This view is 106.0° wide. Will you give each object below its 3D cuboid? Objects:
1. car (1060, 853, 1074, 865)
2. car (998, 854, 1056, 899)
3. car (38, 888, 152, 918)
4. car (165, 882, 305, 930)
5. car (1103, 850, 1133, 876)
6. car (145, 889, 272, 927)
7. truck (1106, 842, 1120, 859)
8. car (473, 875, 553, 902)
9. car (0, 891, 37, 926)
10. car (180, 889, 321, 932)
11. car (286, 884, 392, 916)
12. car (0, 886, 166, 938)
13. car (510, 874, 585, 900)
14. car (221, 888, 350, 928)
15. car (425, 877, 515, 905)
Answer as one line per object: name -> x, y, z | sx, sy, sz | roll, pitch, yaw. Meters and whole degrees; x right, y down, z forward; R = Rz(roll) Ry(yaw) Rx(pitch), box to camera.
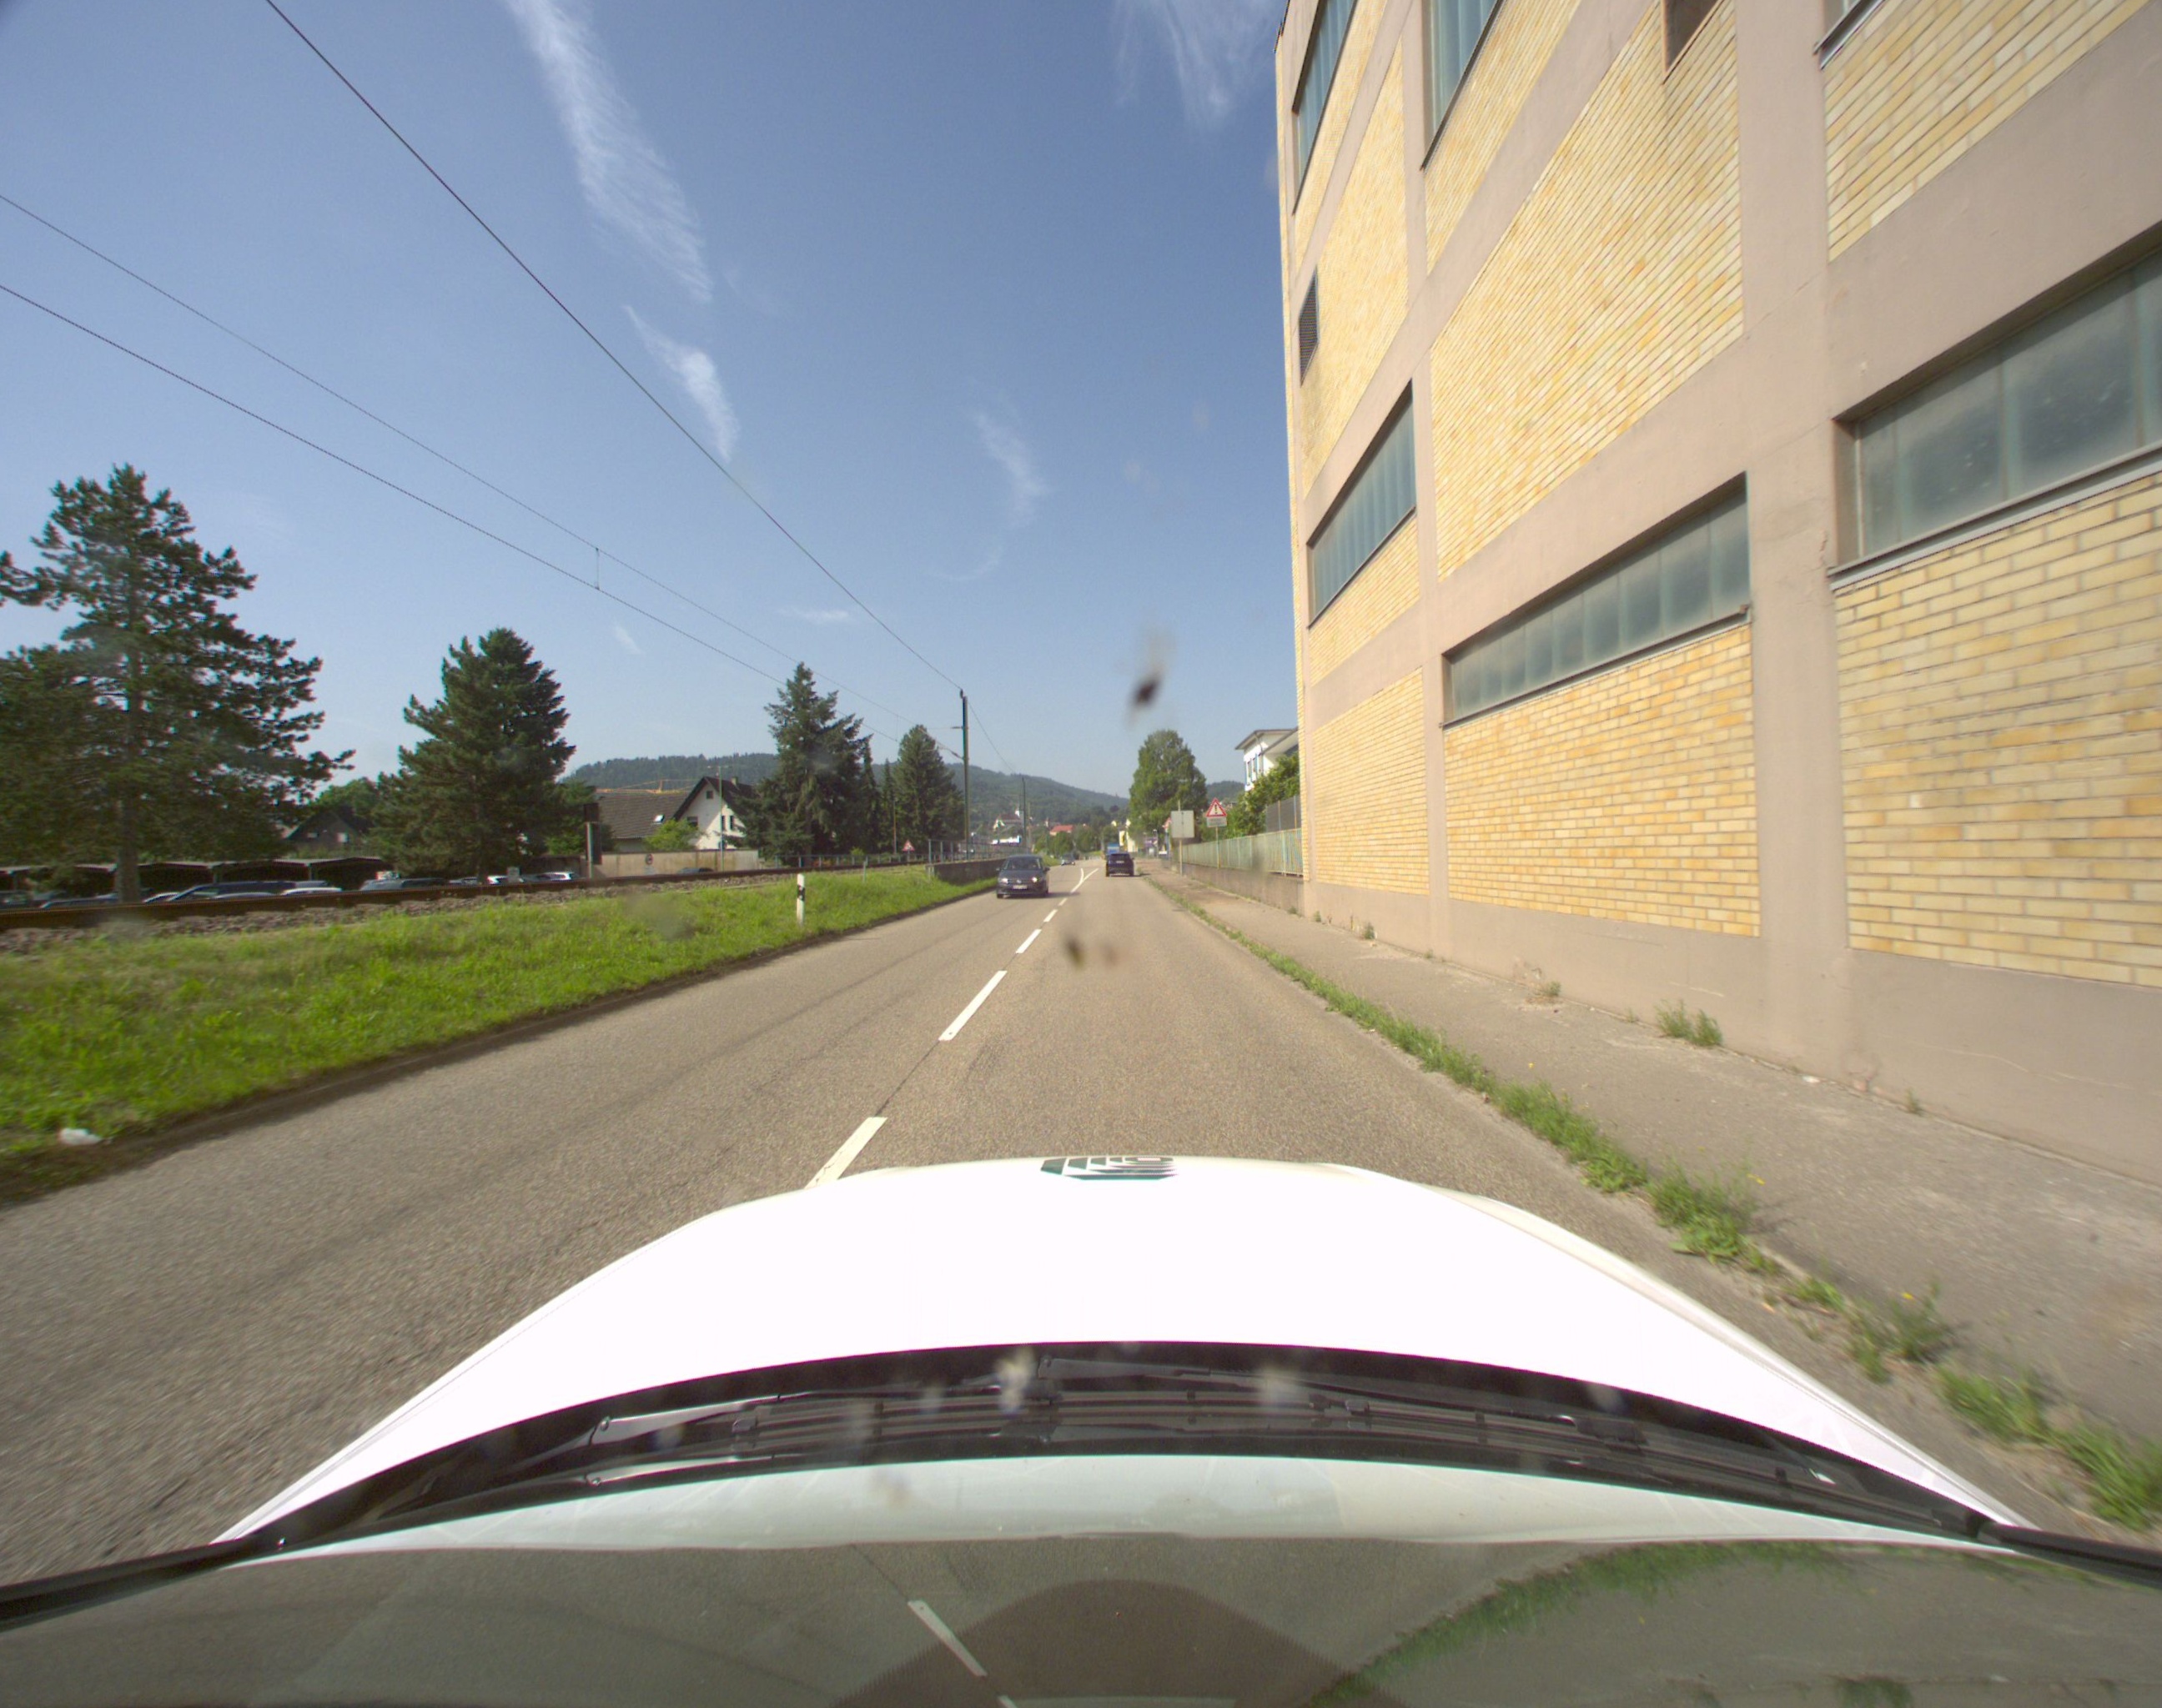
car -> -1.831, 0.682, 108.318 | 1.736, 1.507, 4.199 | -1, 0, 0
car -> -1.933, 0.782, 30.296 | 1.725, 1.526, 4.094 | -1, 0, 2
car -> -51.012, 2.517, 42.212 | 3.532, 1.325, 1.449 | -2, 0, -16
car -> -34.914, 2.087, 33.707 | 1.625, 1.688, 3.830 | -2, 0, 37
car -> 2.547, 0.592, 54.943 | 1.911, 1.640, 4.004 | -2, 0, 4
car -> -37.151, 2.255, 34.731 | 1.438, 1.325, 3.559 | -2, 0, 38
truck -> 5.749, -0.680, 146.778 | 2.305, 2.970, 5.964 | -2, 0, -1
car -> -38.152, 2.322, 54.778 | 3.983, 1.665, 1.813 | -1, 0, -8
car -> -44.275, 2.248, 32.269 | 1.438, 1.325, 3.559 | -2, 0, 38
car -> -31.167, 2.085, 30.651 | 1.438, 1.325, 3.559 | -2, 0, 38
car -> -36.341, 2.231, 39.962 | 3.528, 1.325, 1.451 | -2, 0, -13
car -> -34.510, 1.945, 28.098 | 1.660, 1.498, 3.741 | -2, 0, 36
car -> -37.715, 2.298, 57.679 | 3.983, 1.665, 1.813 | -1, 0, -8
car -> -32.240, 2.159, 33.086 | 1.438, 1.325, 3.559 | -2, 0, 38
car -> -37.237, 2.234, 49.750 | 3.983, 1.536, 1.813 | -1, 0, -8
